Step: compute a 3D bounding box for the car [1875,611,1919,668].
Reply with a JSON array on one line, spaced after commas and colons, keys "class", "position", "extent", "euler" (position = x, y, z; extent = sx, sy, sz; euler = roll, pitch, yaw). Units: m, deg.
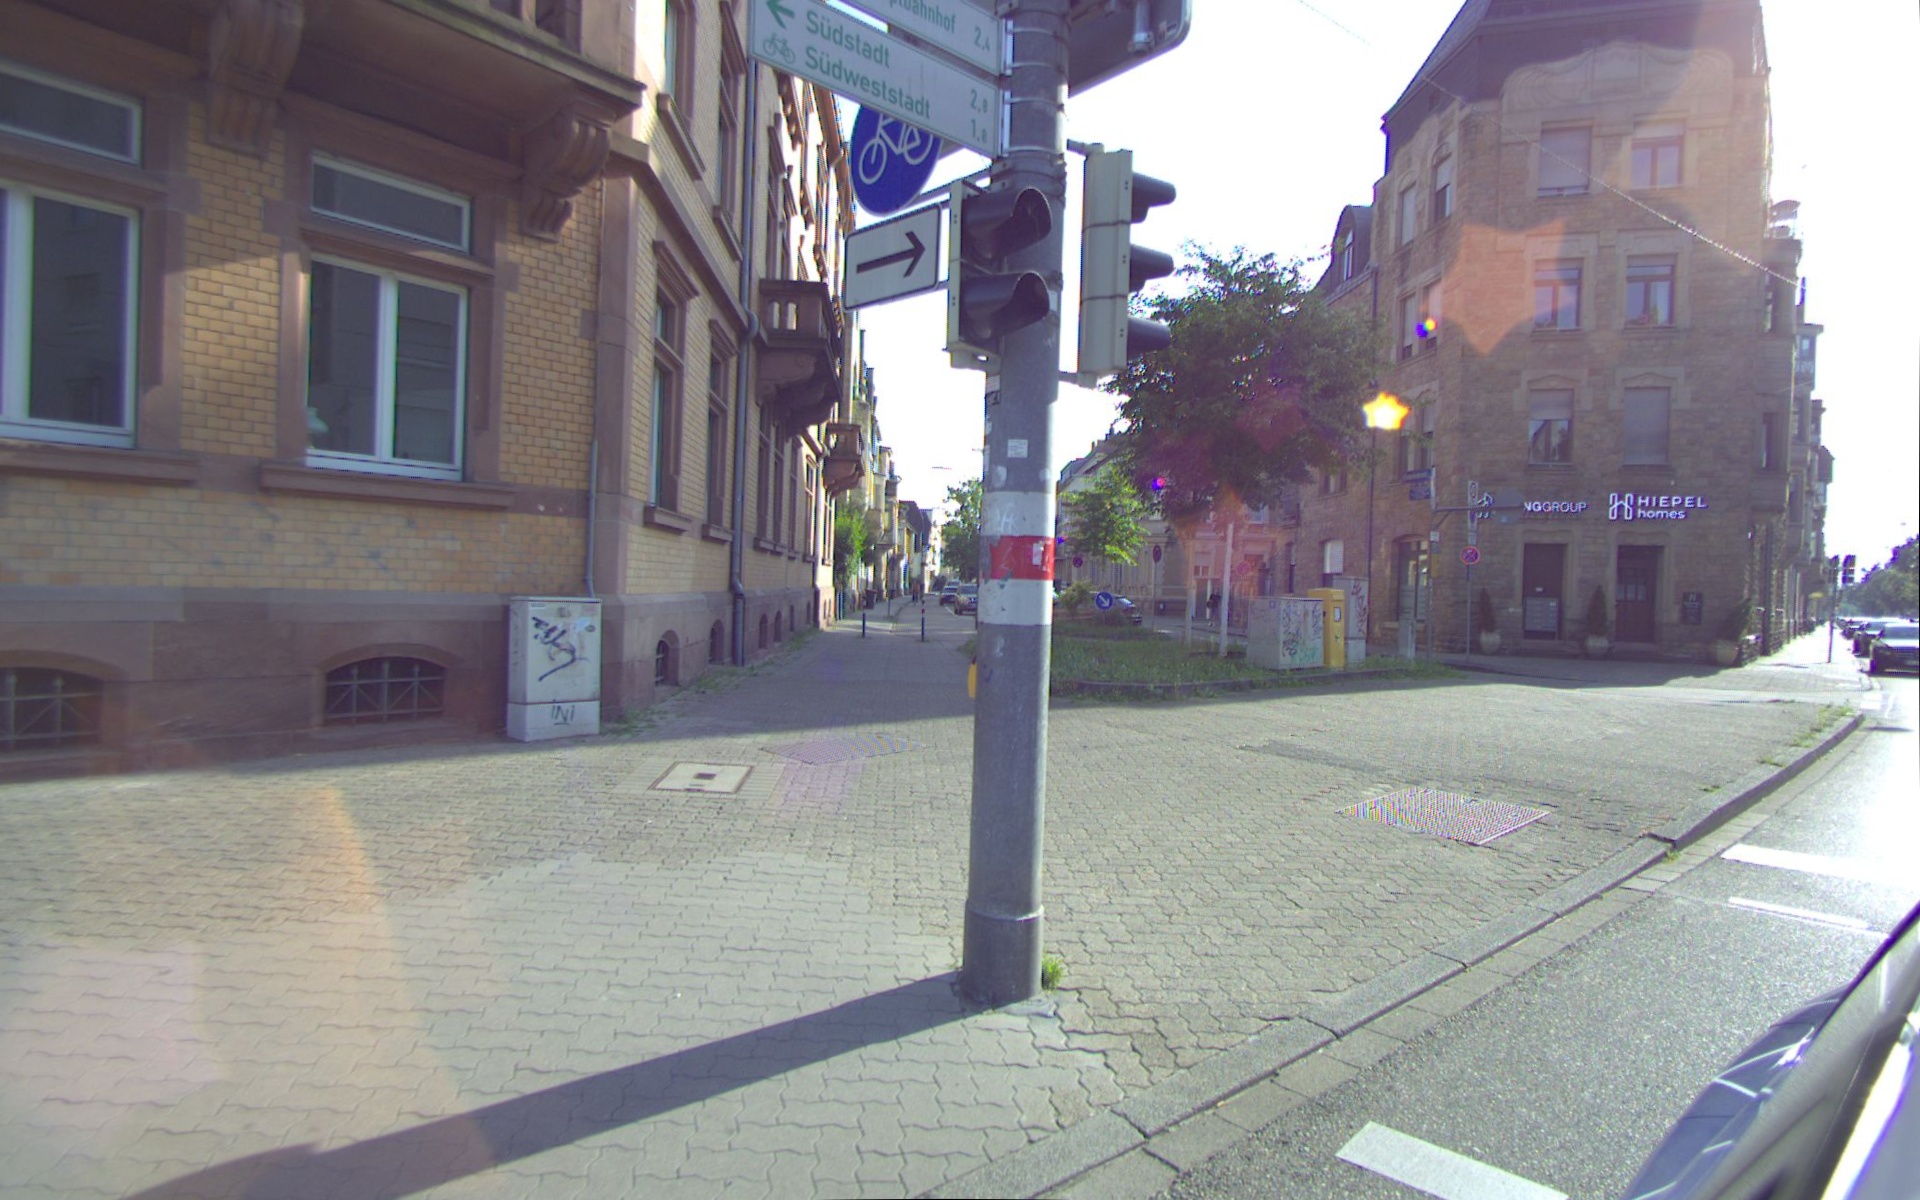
[{"class": "car", "position": [27.663, 1.122, 29.109], "extent": [1.833, 1.522, 4.203], "euler": [1, 0, 40]}]

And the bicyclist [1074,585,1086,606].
[{"class": "bicyclist", "position": [8.615, -0.342, 72.762], "extent": [0.730, 1.474, 0.654], "euler": [1, -1, 0]}]

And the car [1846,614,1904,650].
[{"class": "car", "position": [41.278, 1.396, 45.628], "extent": [1.835, 1.499, 3.937], "euler": [1, 0, 43]}]

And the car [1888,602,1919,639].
[{"class": "car", "position": [55.439, 1.203, 58.846], "extent": [1.992, 2.039, 3.940], "euler": [2, 1, 41]}]

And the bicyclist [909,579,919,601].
[{"class": "bicyclist", "position": [-3.351, -0.705, 73.381], "extent": [0.642, 1.560, 0.897], "euler": [2, 1, -2]}]

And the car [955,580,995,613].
[{"class": "car", "position": [0.744, -0.177, 53.895], "extent": [1.962, 1.672, 4.000], "euler": [1, 0, -1]}]

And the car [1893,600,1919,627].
[{"class": "car", "position": [74.592, 1.061, 79.327], "extent": [1.992, 2.039, 3.940], "euler": [2, 1, 41]}]

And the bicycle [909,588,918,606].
[{"class": "bicycle", "position": [-3.367, -0.236, 73.232], "extent": [0.560, 1.273, 1.570], "euler": [2, 1, -2]}]

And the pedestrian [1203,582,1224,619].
[{"class": "pedestrian", "position": [11.803, 0.012, 47.160], "extent": [0.749, 1.696, 0.783], "euler": [1, -1, 1]}]

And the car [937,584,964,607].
[{"class": "car", "position": [-0.715, -0.348, 77.371], "extent": [1.962, 1.672, 4.000], "euler": [1, 0, -1]}]

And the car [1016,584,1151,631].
[{"class": "car", "position": [4.431, 0.251, 36.496], "extent": [4.421, 1.533, 1.976], "euler": [1, 0, 34]}]
